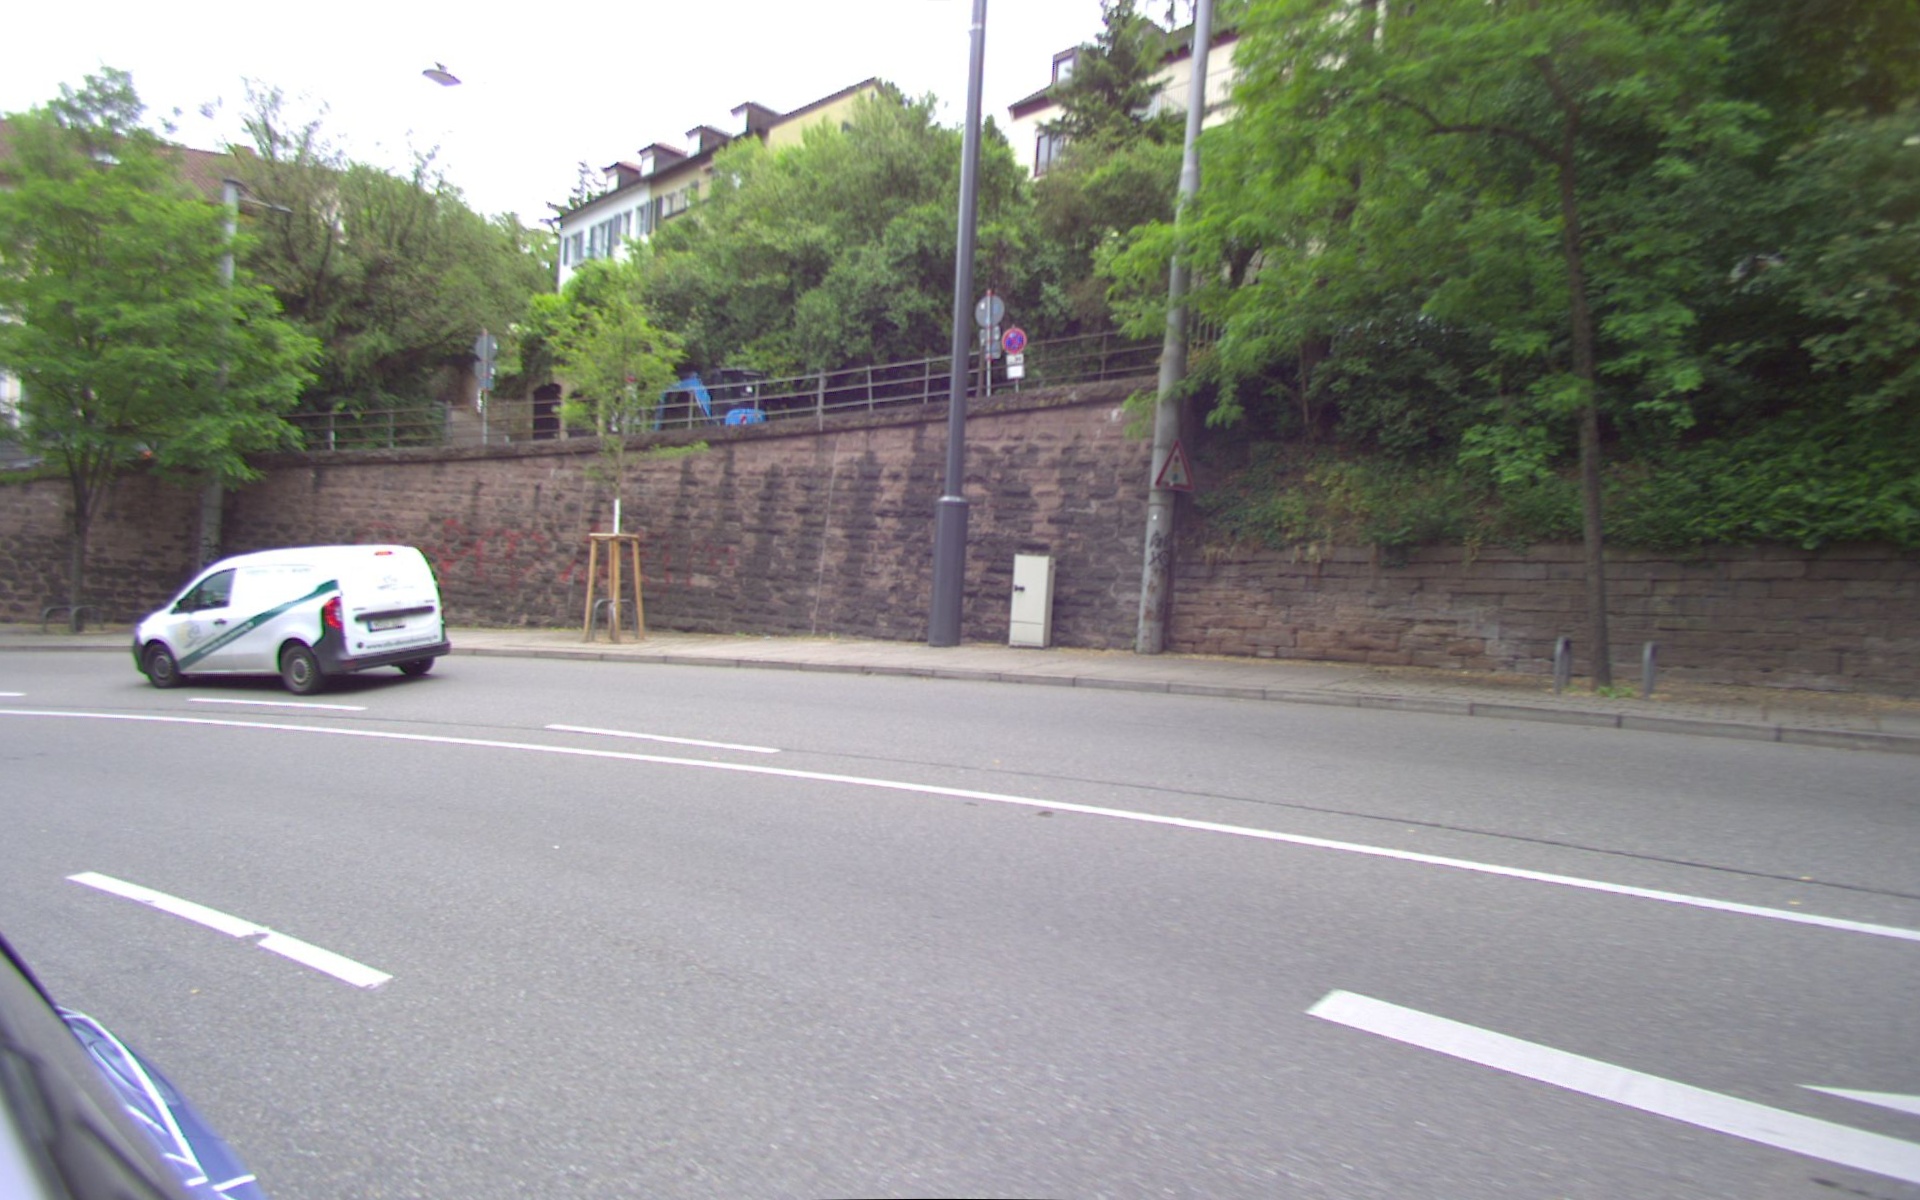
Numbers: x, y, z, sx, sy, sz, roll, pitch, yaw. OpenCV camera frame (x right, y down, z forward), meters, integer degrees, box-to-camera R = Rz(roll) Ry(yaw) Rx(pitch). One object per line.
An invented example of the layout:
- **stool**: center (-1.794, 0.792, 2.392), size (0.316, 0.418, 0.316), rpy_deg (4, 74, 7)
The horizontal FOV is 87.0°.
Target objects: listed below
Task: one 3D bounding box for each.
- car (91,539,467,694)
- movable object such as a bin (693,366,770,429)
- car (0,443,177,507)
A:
- **car**: center (-9.227, 0.166, 13.738), size (4.636, 1.776, 1.816), rpy_deg (0, 5, 21)
- **movable object such as a bin**: center (-6.132, -5.423, 27.205), size (1.592, 1.366, 1.245), rpy_deg (-1, 2, 19)
- **car**: center (-24.830, -3.499, 28.539), size (4.001, 1.652, 1.778), rpy_deg (1, 4, -7)
